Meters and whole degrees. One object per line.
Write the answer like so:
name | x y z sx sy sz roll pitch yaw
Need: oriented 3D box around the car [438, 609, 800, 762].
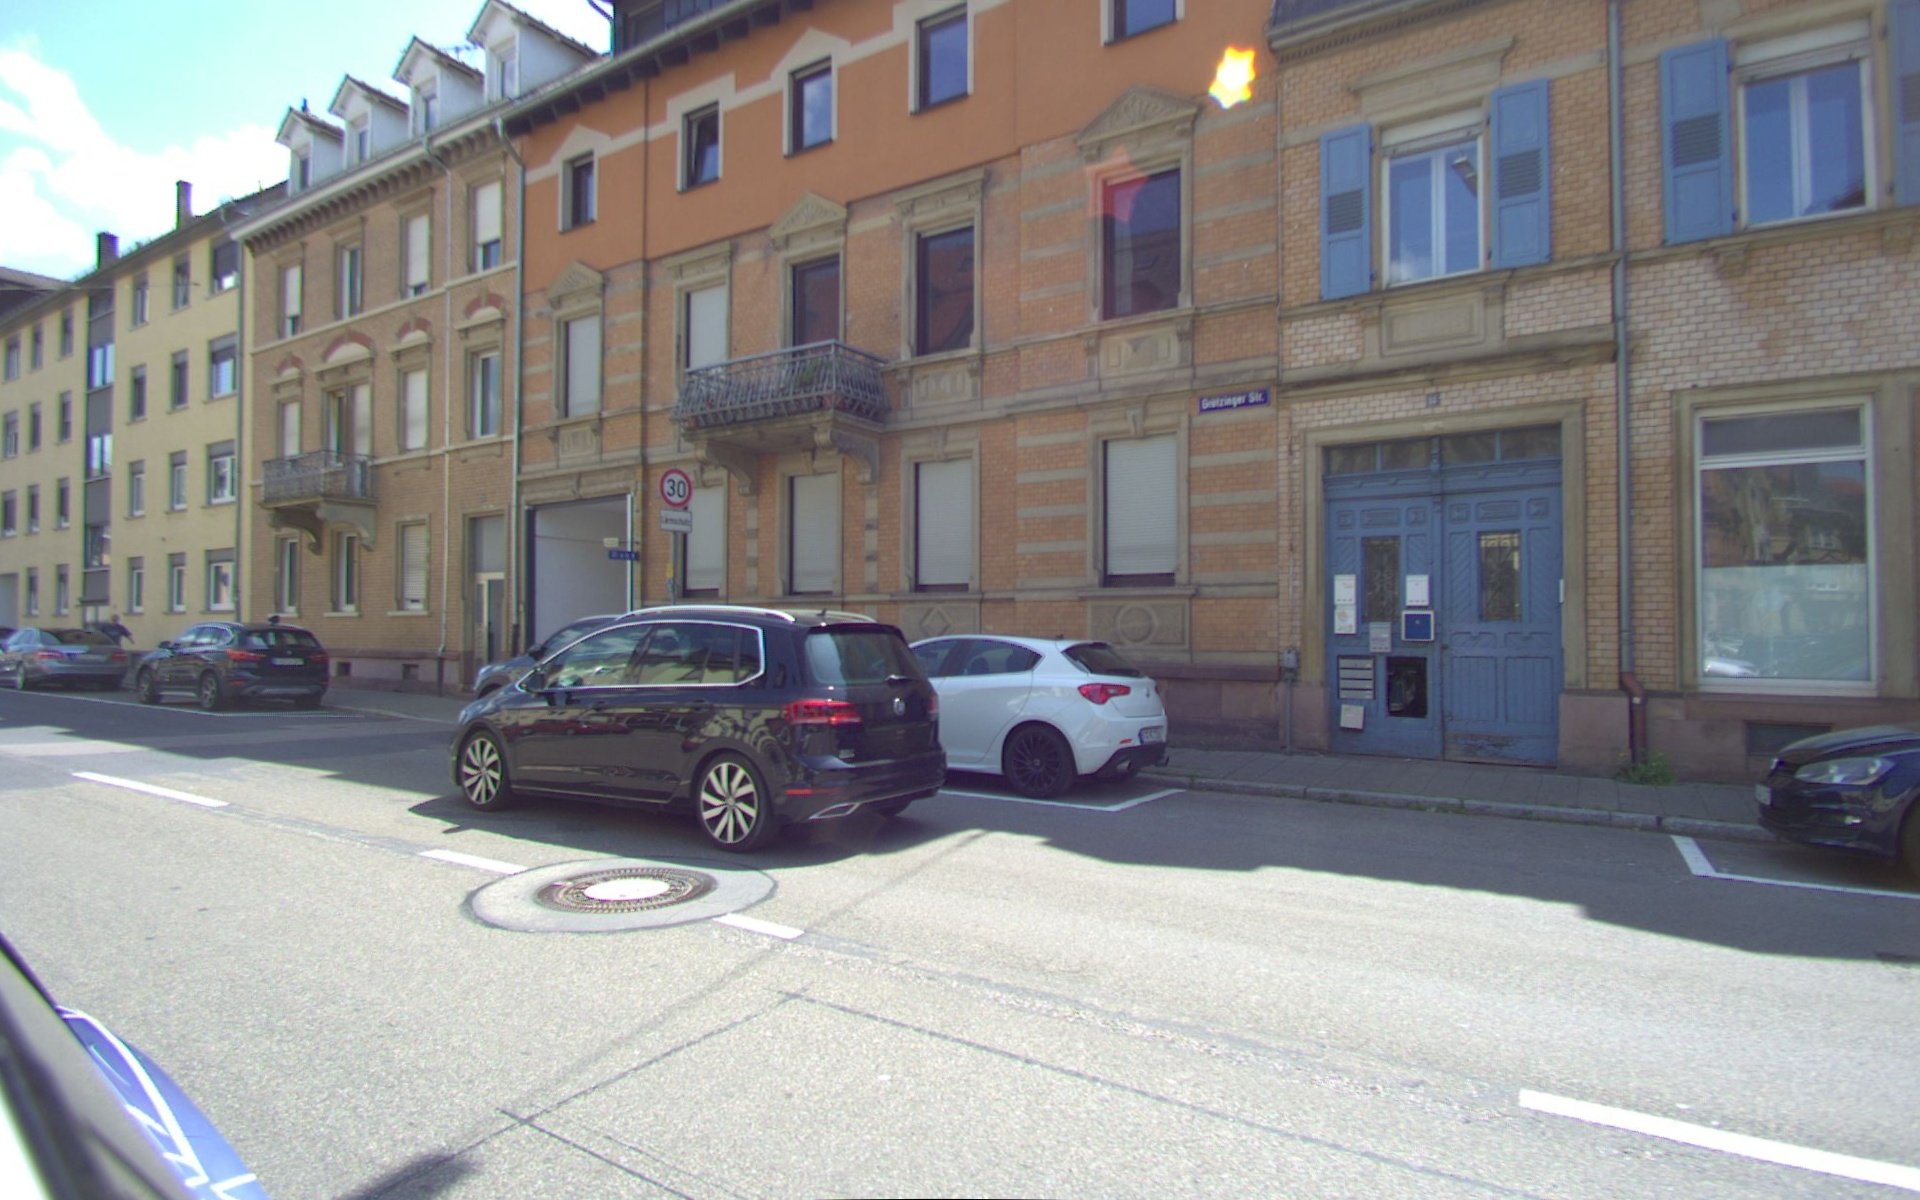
car | -4.387 1.013 12.846 4.484 1.640 1.851 -1 -5 32

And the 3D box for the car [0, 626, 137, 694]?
car | -21.663 1.401 24.029 4.672 1.463 1.889 -1 -5 33

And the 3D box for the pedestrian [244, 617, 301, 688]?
pedestrian | -15.402 1.158 22.670 0.874 1.546 0.795 -1 -2 37

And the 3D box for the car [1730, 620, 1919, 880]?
car | 7.106 0.877 5.550 4.313 1.417 1.852 -1 -5 30

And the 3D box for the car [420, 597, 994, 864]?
car | -2.001 0.799 7.613 4.231 1.506 1.747 -1 -2 32

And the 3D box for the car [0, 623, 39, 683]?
car | -27.100 1.396 27.561 4.300 1.563 1.850 -1 -5 33

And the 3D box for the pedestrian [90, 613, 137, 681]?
pedestrian | -22.561 1.247 26.985 0.875 1.769 0.794 -1 -2 41

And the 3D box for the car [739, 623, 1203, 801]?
car | 0.037 1.003 10.143 4.317 1.437 1.850 -1 -5 33

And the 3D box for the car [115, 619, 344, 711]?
car | -13.891 1.198 19.194 4.485 1.563 1.851 -1 -5 32
